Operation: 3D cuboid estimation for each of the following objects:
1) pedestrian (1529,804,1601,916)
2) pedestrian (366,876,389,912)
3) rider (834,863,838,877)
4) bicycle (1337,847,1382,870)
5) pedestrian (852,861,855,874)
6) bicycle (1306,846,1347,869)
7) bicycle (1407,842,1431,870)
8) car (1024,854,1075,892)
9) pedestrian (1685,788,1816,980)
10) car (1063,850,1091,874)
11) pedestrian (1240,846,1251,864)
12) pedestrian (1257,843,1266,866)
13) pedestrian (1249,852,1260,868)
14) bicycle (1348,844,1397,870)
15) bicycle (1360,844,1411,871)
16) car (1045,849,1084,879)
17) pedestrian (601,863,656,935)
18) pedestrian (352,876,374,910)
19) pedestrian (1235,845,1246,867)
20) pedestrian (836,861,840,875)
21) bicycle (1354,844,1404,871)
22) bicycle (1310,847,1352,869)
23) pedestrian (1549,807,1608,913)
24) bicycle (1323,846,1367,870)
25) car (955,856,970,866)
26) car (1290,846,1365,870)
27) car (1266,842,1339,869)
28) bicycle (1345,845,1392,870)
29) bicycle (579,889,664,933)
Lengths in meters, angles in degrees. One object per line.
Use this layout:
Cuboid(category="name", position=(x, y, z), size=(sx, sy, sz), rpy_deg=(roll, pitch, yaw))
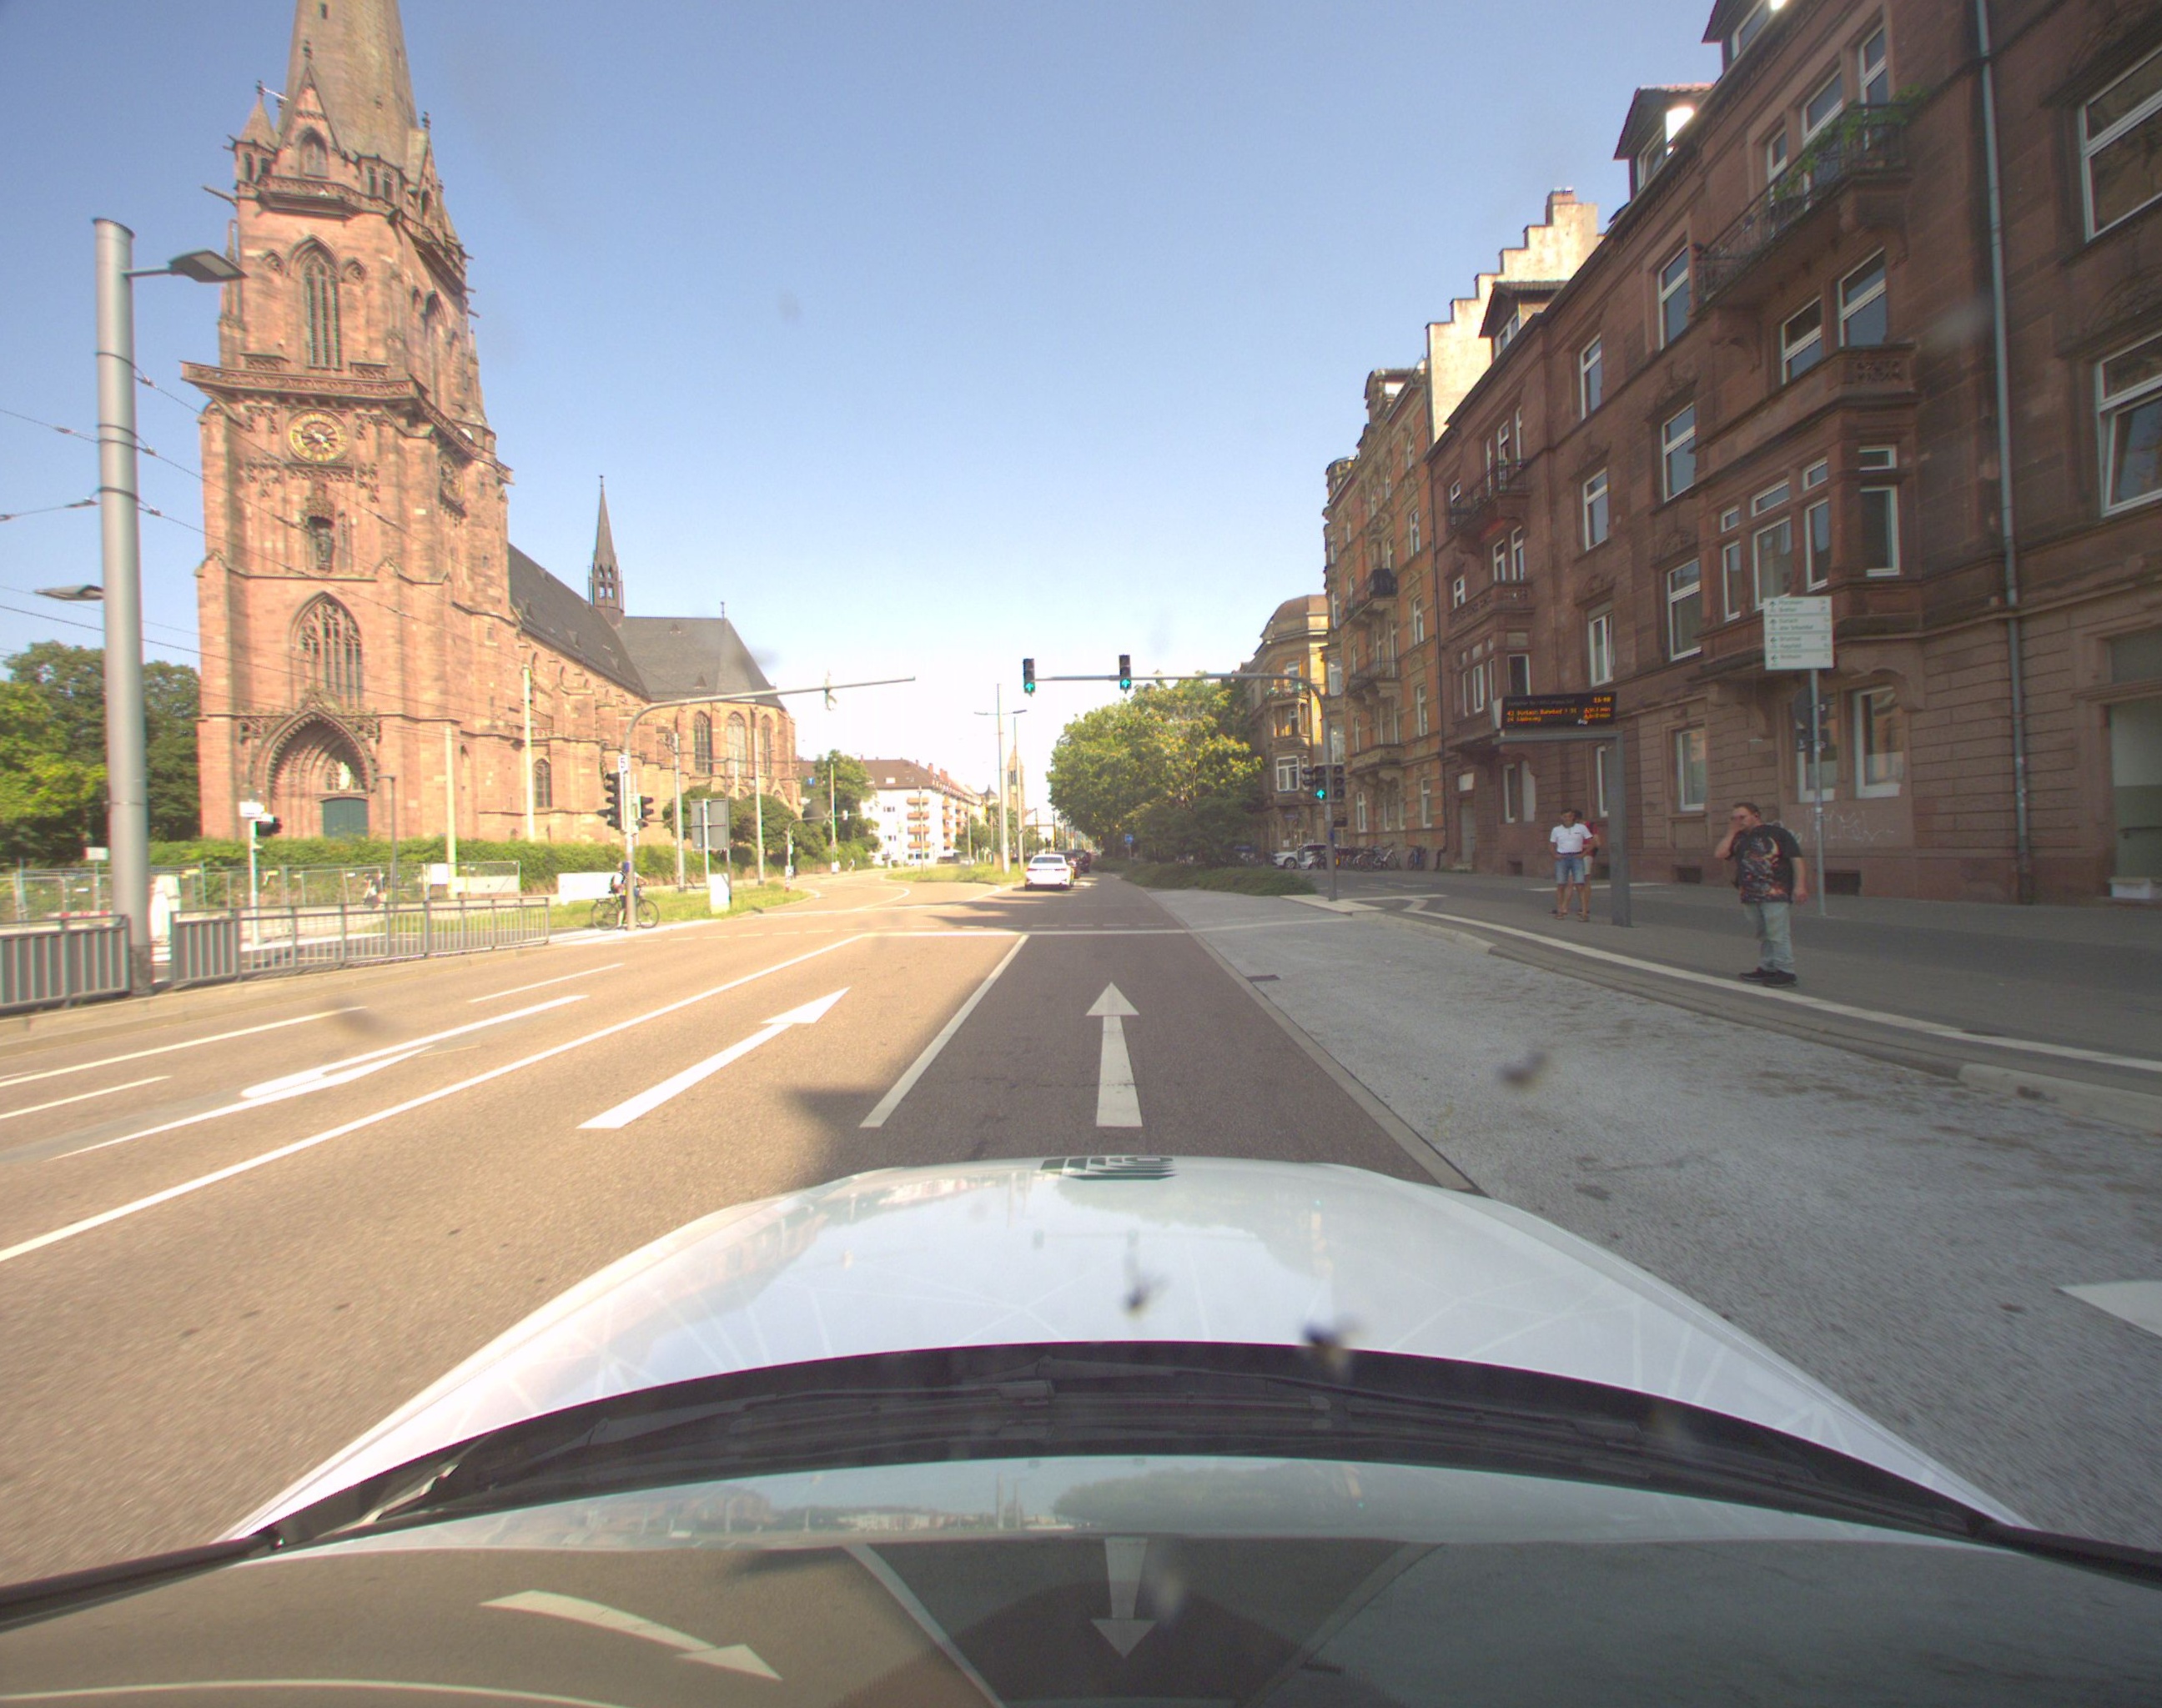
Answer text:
Cuboid(category="pedestrian", position=(7.456, 0.088, 12.557), size=(0.688, 1.664, 0.620), rpy_deg=(-2, 0, 2))
Cuboid(category="pedestrian", position=(-31.714, 1.781, 36.704), size=(0.490, 1.576, 0.552), rpy_deg=(-2, 0, 0))
Cuboid(category="rider", position=(-26.320, 1.729, 87.431), size=(0.306, 1.431, 0.250), rpy_deg=(-2, 0, -2))
Cuboid(category="bicycle", position=(12.851, 0.196, 37.617), size=(1.924, 0.950, 0.499), rpy_deg=(-2, 0, -5))
Cuboid(category="pedestrian", position=(-26.916, 1.556, 96.339), size=(0.304, 1.518, 0.340), rpy_deg=(-2, 0, -3))
Cuboid(category="bicycle", position=(12.617, 0.177, 41.919), size=(1.924, 1.048, 0.526), rpy_deg=(-2, 0, -5))
Cuboid(category="bicycle", position=(13.500, 0.074, 32.531), size=(0.414, 1.048, 1.673), rpy_deg=(-2, 0, 7))
Cuboid(category="car", position=(-1.229, 0.714, 33.623), size=(1.802, 1.427, 4.776), rpy_deg=(0, 0, 1))
Cuboid(category="pedestrian", position=(5.975, 0.255, 7.300), size=(0.526, 1.612, 0.702), rpy_deg=(-2, 0, -2))
Cuboid(category="car", position=(-0.234, 0.529, 58.920), size=(1.825, 1.621, 4.359), rpy_deg=(-1, 0, 2))
Cuboid(category="pedestrian", position=(11.617, 0.067, 57.546), size=(0.595, 1.248, 0.507), rpy_deg=(-2, 0, 0))
Cuboid(category="pedestrian", position=(12.307, 0.029, 55.544), size=(0.443, 1.506, 0.486), rpy_deg=(-2, 0, -4))
Cuboid(category="pedestrian", position=(11.494, 0.388, 53.917), size=(0.446, 1.070, 0.482), rpy_deg=(-2, 0, -29))
Cuboid(category="bicycle", position=(12.623, 0.122, 35.278), size=(1.924, 1.048, 0.499), rpy_deg=(-2, 0, -5))
Cuboid(category="bicycle", position=(12.648, 0.147, 33.826), size=(1.924, 1.048, 0.499), rpy_deg=(-2, 0, -5))
Cuboid(category="car", position=(-0.925, 0.522, 47.158), size=(1.986, 1.621, 4.359), rpy_deg=(-1, 0, 2))
Cuboid(category="pedestrian", position=(-10.971, 1.074, 19.751), size=(0.913, 1.679, 0.602), rpy_deg=(-2, 0, 0))
Cuboid(category="pedestrian", position=(-34.274, 1.867, 38.887), size=(0.542, 1.576, 0.658), rpy_deg=(-2, 0, -18))
Cuboid(category="pedestrian", position=(10.474, 0.136, 53.453), size=(0.571, 1.454, 0.731), rpy_deg=(-2, 0, 2))
Cuboid(category="pedestrian", position=(-28.166, 1.619, 94.298), size=(0.304, 1.518, 0.340), rpy_deg=(-2, 0, -3))
Cuboid(category="bicycle", position=(12.649, 0.132, 34.573), size=(1.924, 1.048, 0.499), rpy_deg=(-2, 0, -5))
Cuboid(category="bicycle", position=(12.630, 0.192, 41.202), size=(1.924, 1.048, 0.526), rpy_deg=(-2, 0, -5))
Cuboid(category="pedestrian", position=(8.297, 0.100, 13.605), size=(0.480, 1.702, 0.702), rpy_deg=(-2, 0, -2))
Cuboid(category="bicycle", position=(12.617, 0.200, 38.998), size=(1.924, 1.048, 0.526), rpy_deg=(-2, 0, -5))
Cuboid(category="car", position=(-19.556, 1.212, 134.590), size=(1.987, 1.500, 3.999), rpy_deg=(-2, 0, 0))
Cuboid(category="car", position=(14.502, 0.216, 48.080), size=(3.927, 1.222, 1.546), rpy_deg=(-2, 0, -3))
Cuboid(category="car", position=(14.457, 0.075, 53.237), size=(4.171, 1.563, 1.998), rpy_deg=(-2, 0, -3))
Cuboid(category="bicycle", position=(12.989, 0.166, 36.834), size=(1.924, 1.048, 0.499), rpy_deg=(-2, 0, -5))
Cuboid(category="bicycle", position=(-11.160, 1.378, 19.807), size=(1.753, 0.978, 0.479), rpy_deg=(-2, 0, -1))
